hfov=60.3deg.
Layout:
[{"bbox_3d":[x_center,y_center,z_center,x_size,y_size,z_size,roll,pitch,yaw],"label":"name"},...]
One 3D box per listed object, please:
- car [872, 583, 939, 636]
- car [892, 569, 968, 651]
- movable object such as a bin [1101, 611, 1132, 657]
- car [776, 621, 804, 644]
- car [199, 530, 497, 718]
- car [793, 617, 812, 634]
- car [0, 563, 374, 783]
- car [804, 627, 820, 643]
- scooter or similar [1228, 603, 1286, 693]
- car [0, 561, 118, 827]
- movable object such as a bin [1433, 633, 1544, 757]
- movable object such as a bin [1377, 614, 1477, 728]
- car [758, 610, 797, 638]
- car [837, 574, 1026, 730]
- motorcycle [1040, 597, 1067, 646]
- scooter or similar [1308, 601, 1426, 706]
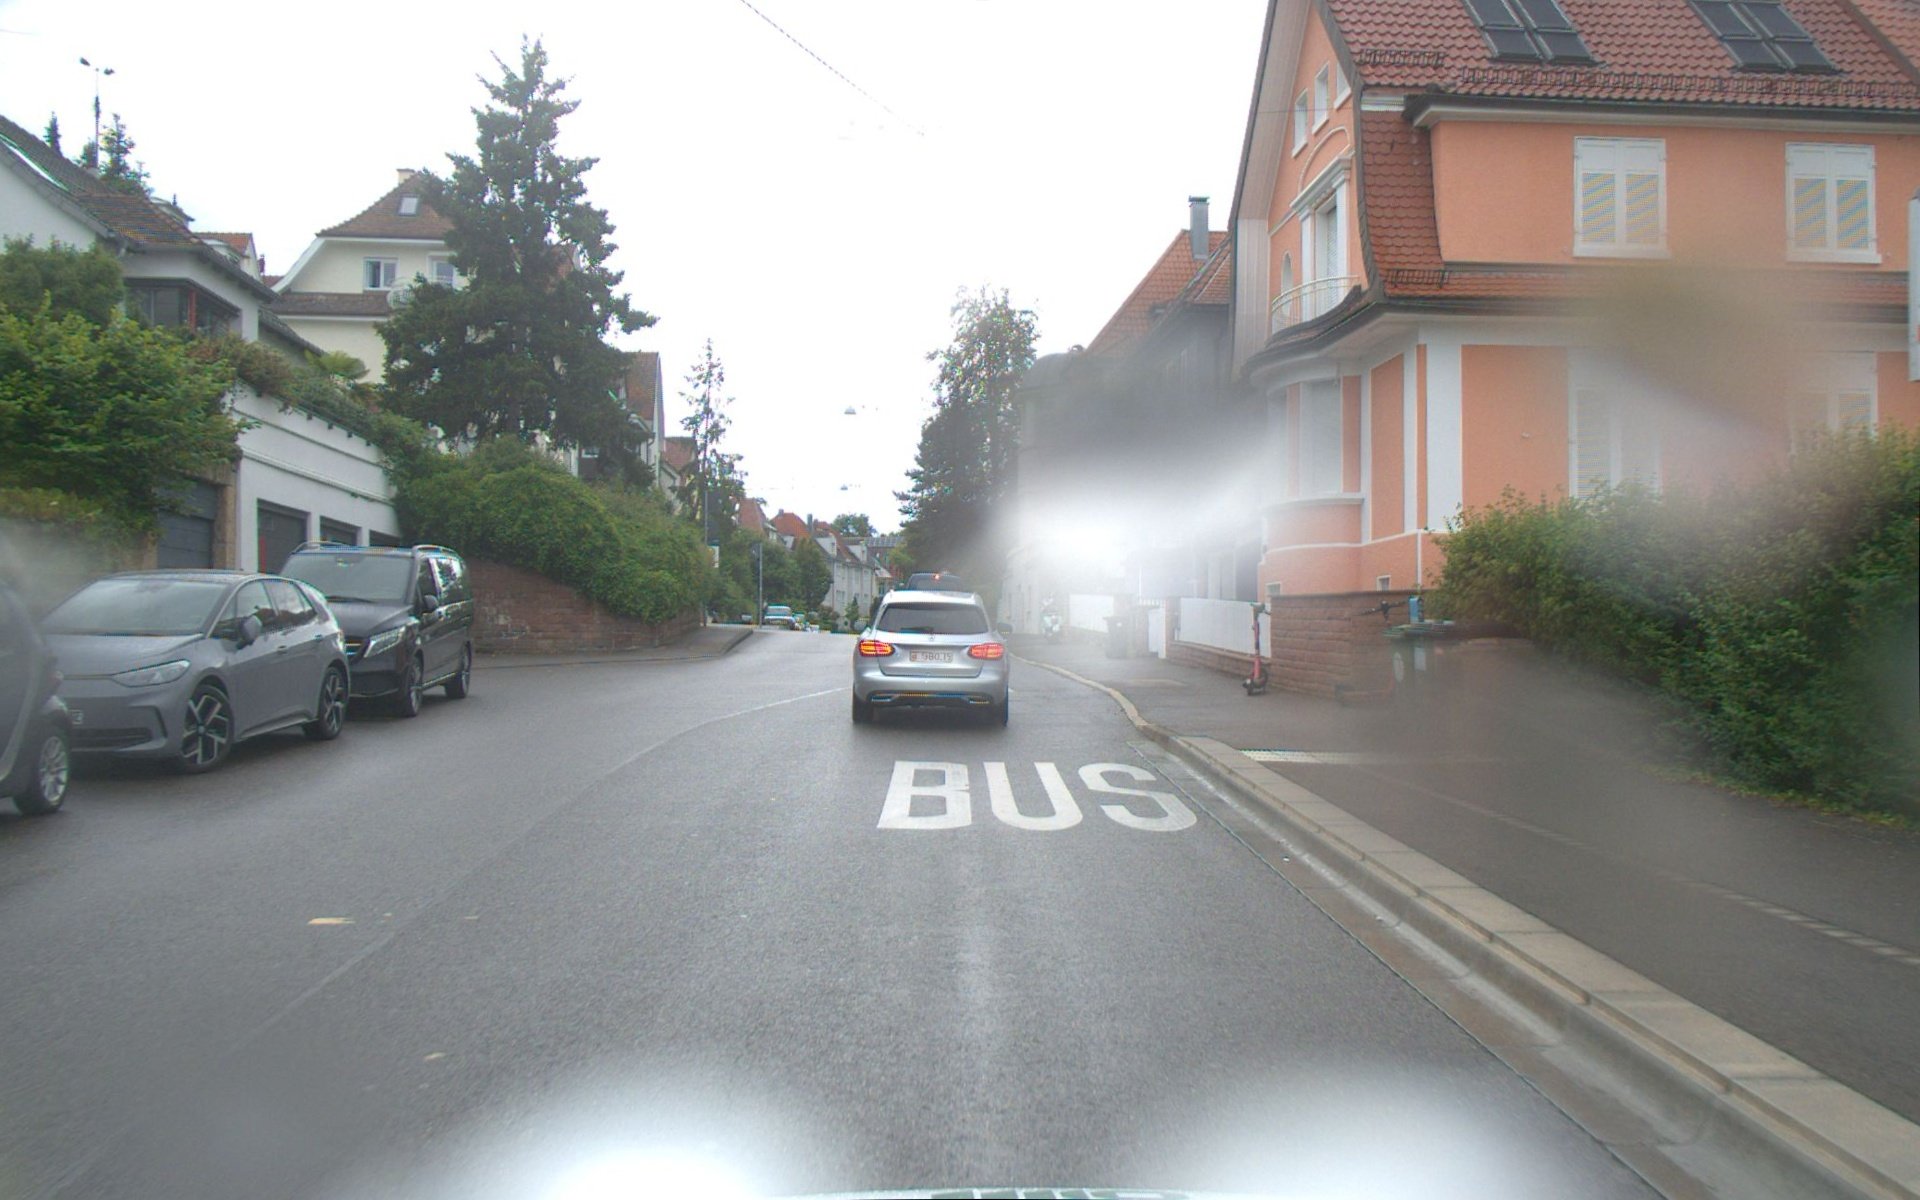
[{"bbox_3d":[-1.663,0.261,50.565,1.953,1.566,4.331,0,0,-2],"label":"car"},{"bbox_3d":[-0.732,0.217,41.092,1.787,1.915,4.094,0,0,-1],"label":"car"},{"bbox_3d":[3.362,0.733,35.587,0.538,0.952,0.633,-2,0,-3],"label":"movable object such as a bin"},{"bbox_3d":[-11.081,2.114,107.916,1.723,1.337,3.680,2,0,-5],"label":"car"},{"bbox_3d":[-7.122,0.244,19.967,2.089,1.892,5.585,2,0,-7],"label":"car"},{"bbox_3d":[-13.273,2.117,139.523,1.604,1.337,3.472,0,0,-5],"label":"car"},{"bbox_3d":[-6.647,0.506,14.116,1.860,1.541,4.340,2,0,-3],"label":"car"},{"bbox_3d":[-13.401,3.189,149.908,1.400,1.337,3.403,0,0,-5],"label":"car"},{"bbox_3d":[4.291,0.683,23.950,0.678,1.245,1.300,1,0,4],"label":"scooter or similar"},{"bbox_3d":[-6.323,0.531,9.691,1.468,1.550,3.154,1,0,-8],"label":"car"},{"bbox_3d":[4.486,0.796,14.046,0.565,0.986,0.661,2,0,-36],"label":"movable object such as a bin"},{"bbox_3d":[4.504,0.672,16.000,0.697,1.048,0.756,-1,0,-5],"label":"movable object such as a bin"},{"bbox_3d":[-10.281,1.331,93.411,2.075,1.497,4.013,1,0,-5],"label":"car"},{"bbox_3d":[-0.376,0.535,19.572,1.943,1.581,4.296,2,0,-2],"label":"car"},{"bbox_3d":[2.544,0.570,45.302,0.570,1.283,2.331,-1,0,0],"label":"motorcycle"},{"bbox_3d":[4.981,0.657,20.248,1.234,1.245,0.694,-2,-1,29],"label":"scooter or similar"}]
